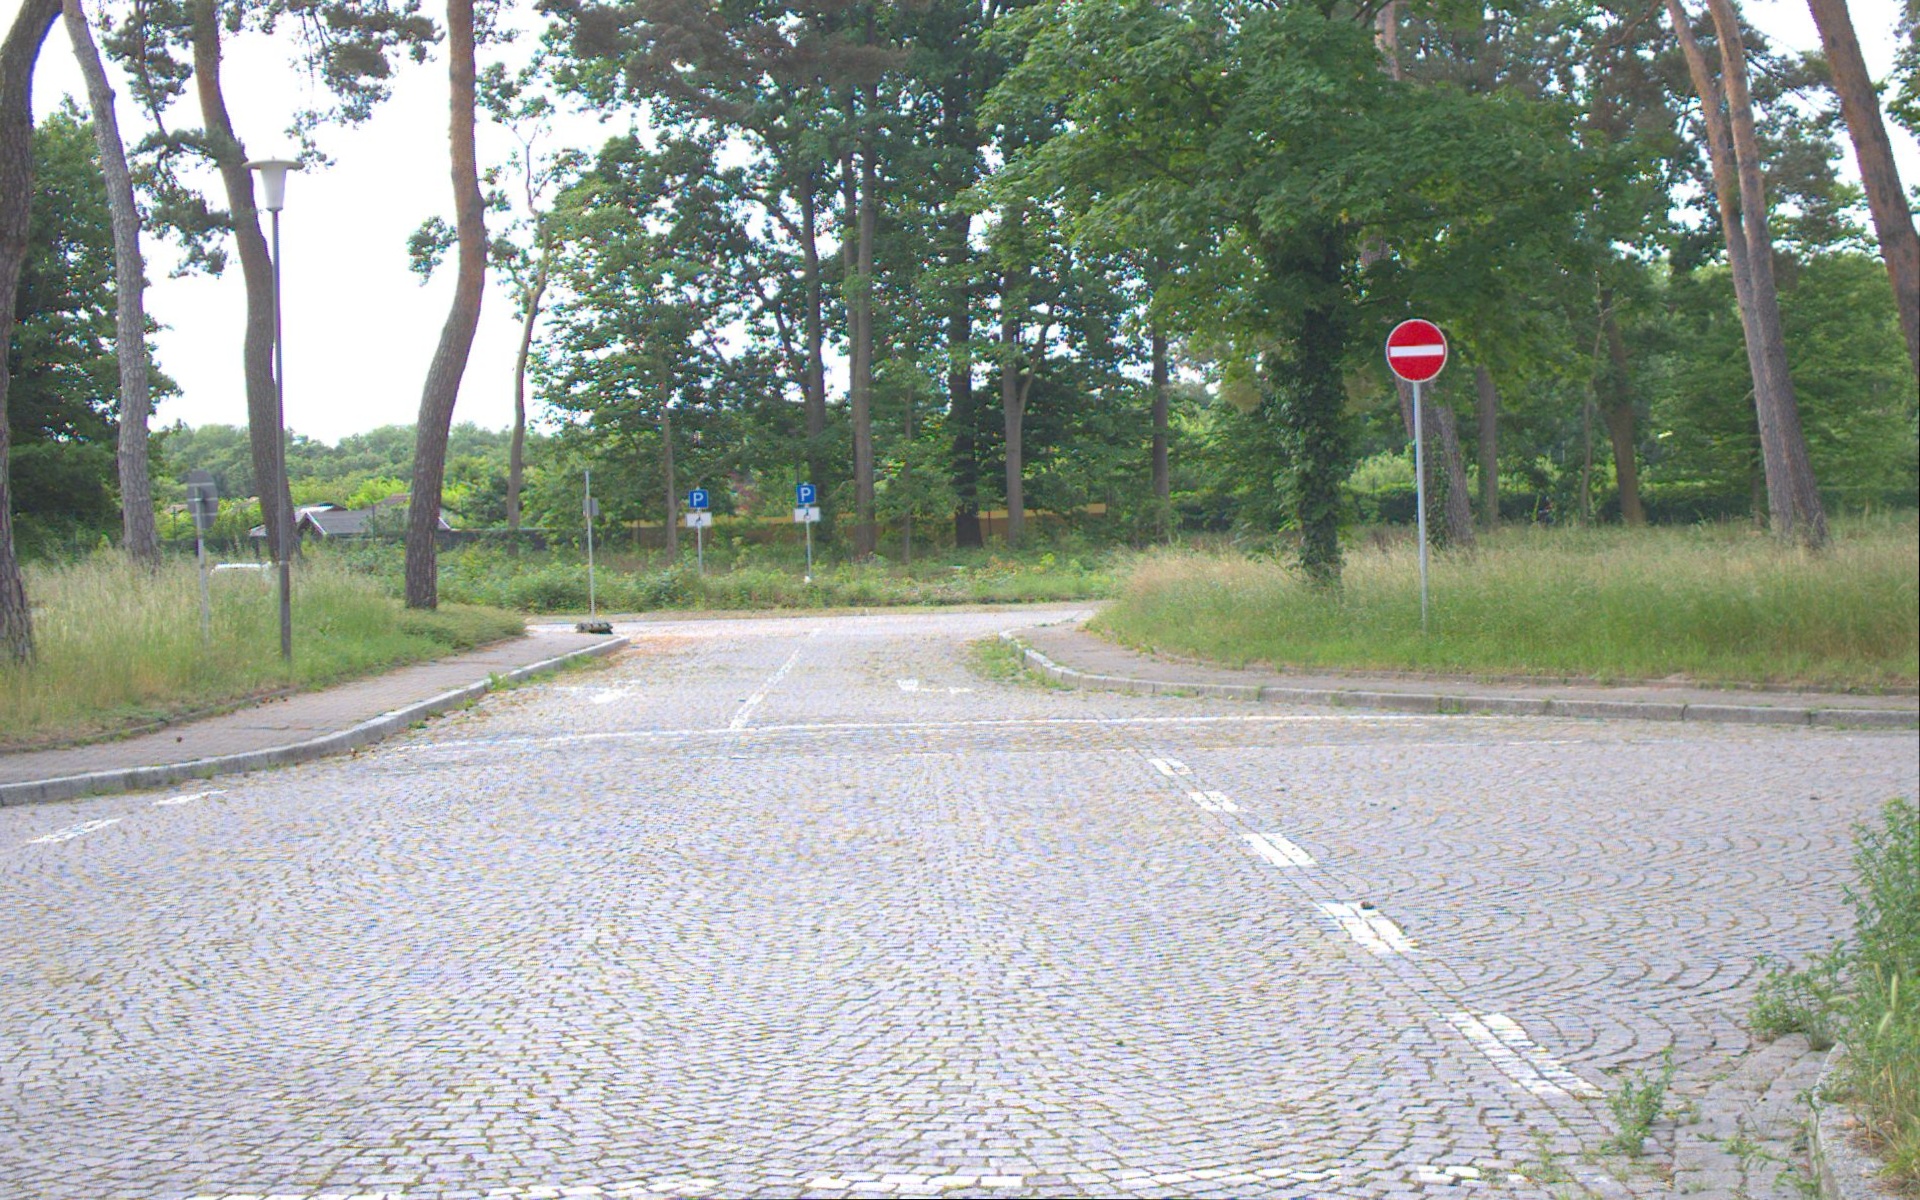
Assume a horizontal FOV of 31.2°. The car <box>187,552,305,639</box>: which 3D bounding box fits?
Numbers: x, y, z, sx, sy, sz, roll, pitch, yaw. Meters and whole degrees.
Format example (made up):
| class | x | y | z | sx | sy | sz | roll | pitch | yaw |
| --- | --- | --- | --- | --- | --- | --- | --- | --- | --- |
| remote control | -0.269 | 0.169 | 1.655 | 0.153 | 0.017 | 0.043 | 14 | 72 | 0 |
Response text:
| class | x | y | z | sx | sy | sz | roll | pitch | yaw |
| --- | --- | --- | --- | --- | --- | --- | --- | --- | --- |
| car | -15.540 | -0.120 | 75.027 | 1.993 | 1.840 | 4.001 | 0 | 1 | -4 |
